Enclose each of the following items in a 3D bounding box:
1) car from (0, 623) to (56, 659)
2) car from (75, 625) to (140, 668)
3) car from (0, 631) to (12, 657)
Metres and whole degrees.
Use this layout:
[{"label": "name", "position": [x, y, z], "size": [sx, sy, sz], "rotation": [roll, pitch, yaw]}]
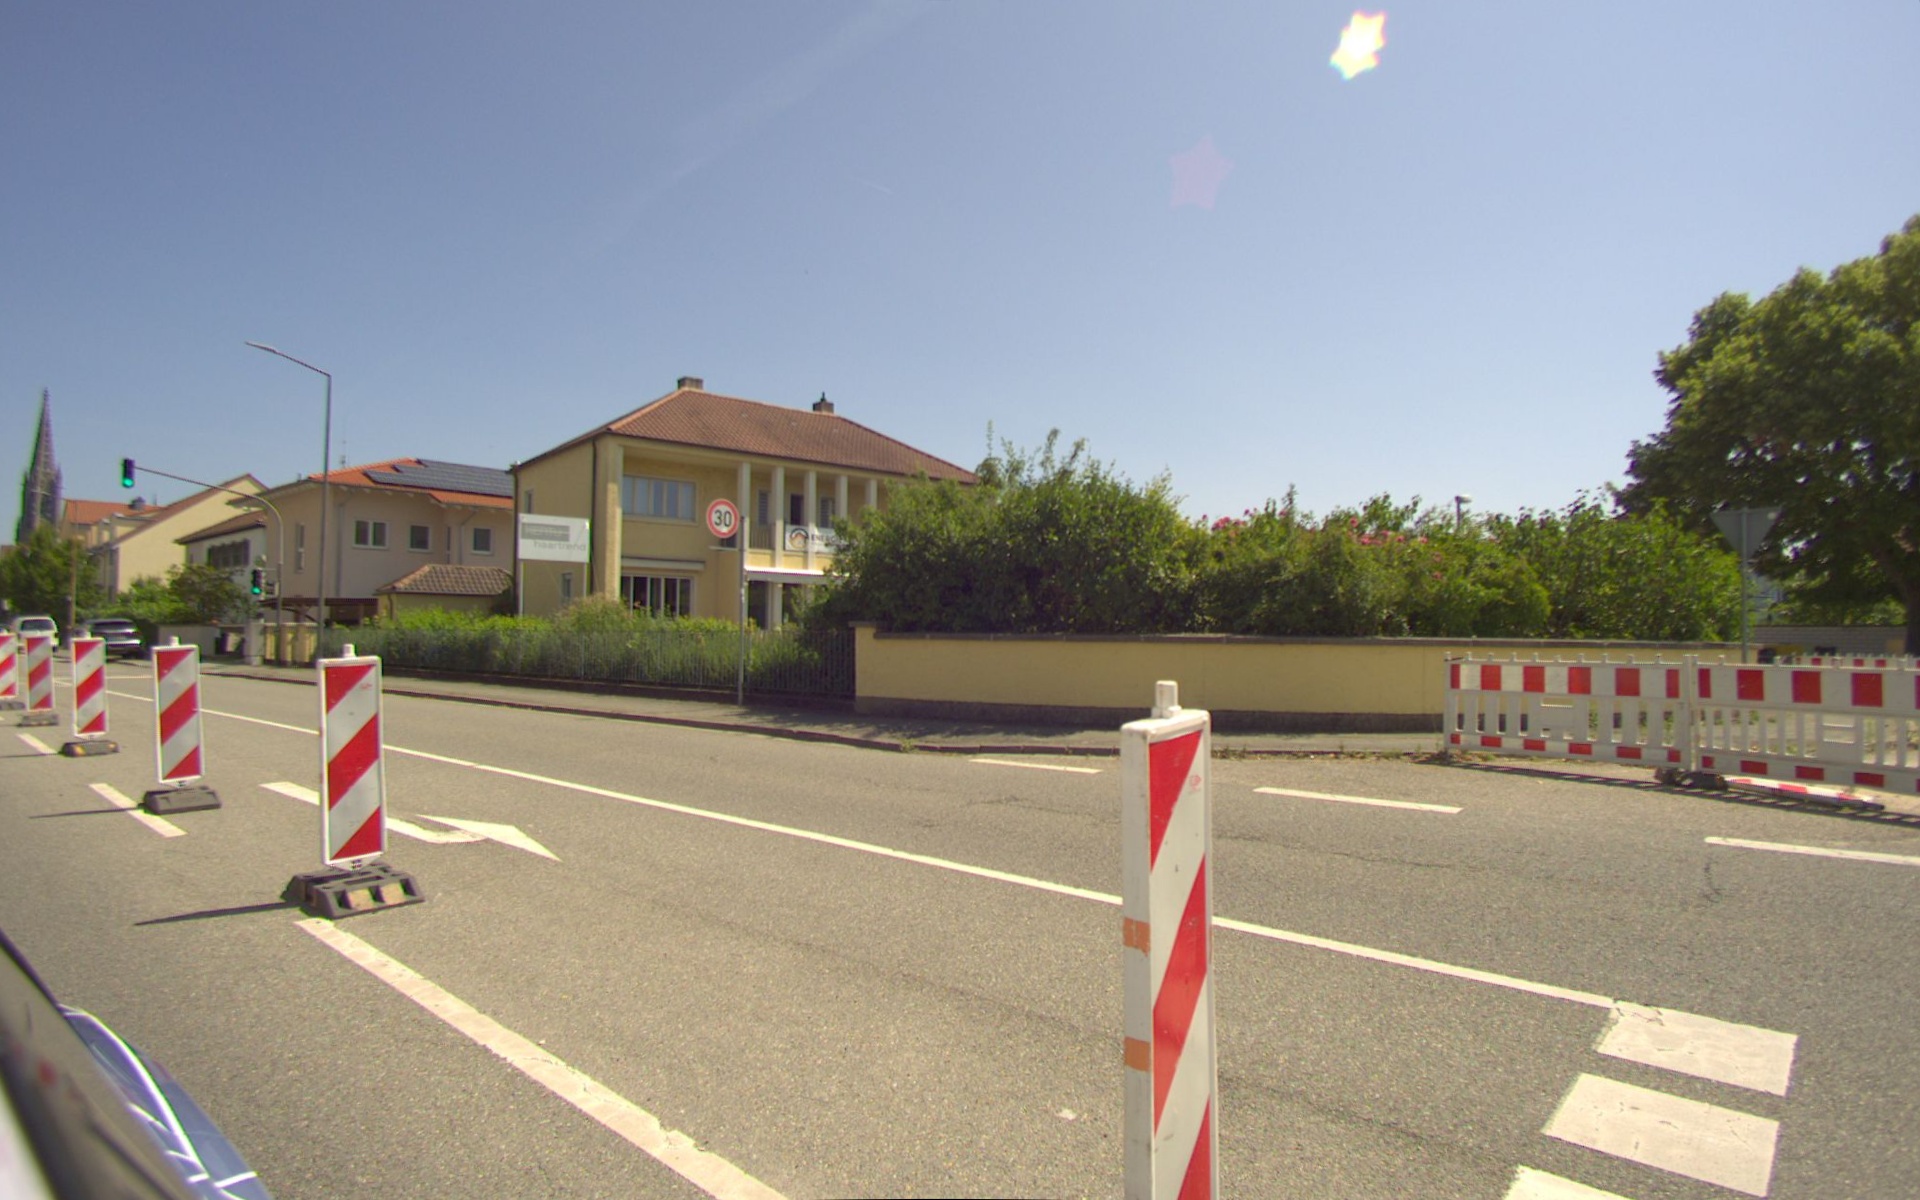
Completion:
[{"label": "car", "position": [-48.076, 2.109, 52.148], "size": [3.887, 1.800, 1.696], "rotation": [-2, -4, 41]}, {"label": "car", "position": [-33.012, 1.780, 39.182], "size": [3.319, 1.589, 1.372], "rotation": [-2, -4, 41]}, {"label": "car", "position": [-61.401, 2.752, 64.065], "size": [3.512, 1.617, 1.603], "rotation": [-2, -4, 41]}]
